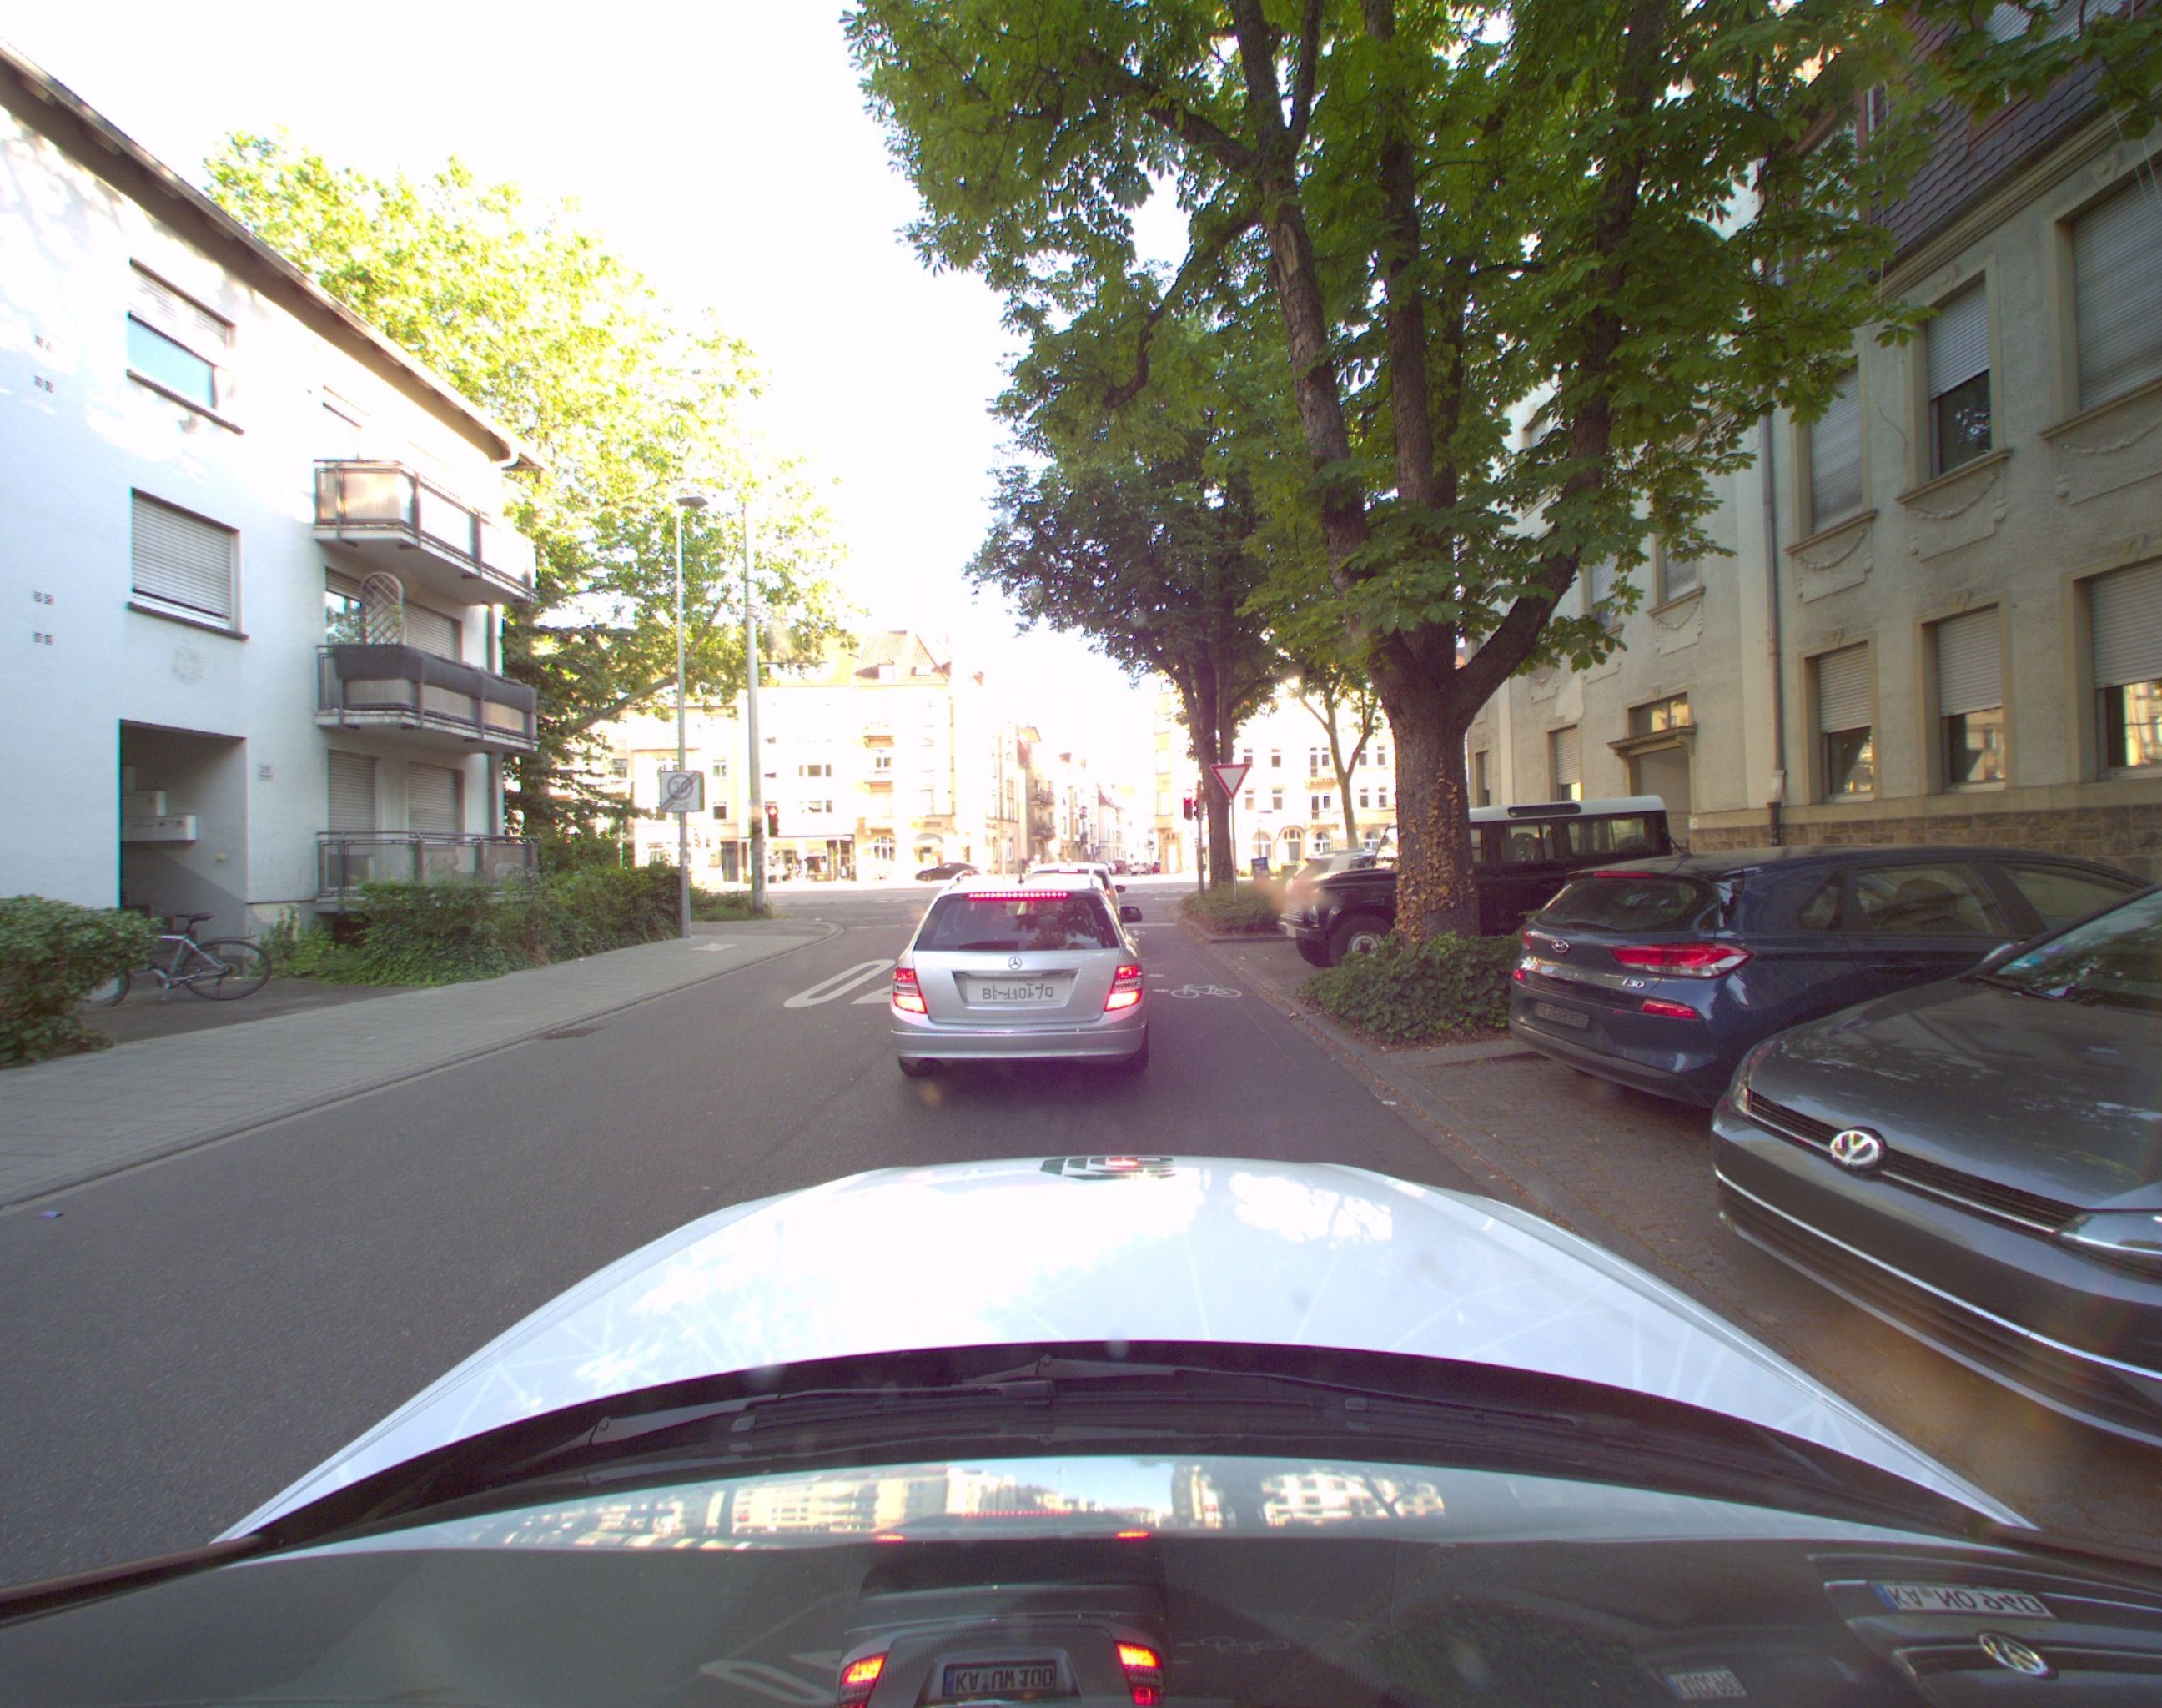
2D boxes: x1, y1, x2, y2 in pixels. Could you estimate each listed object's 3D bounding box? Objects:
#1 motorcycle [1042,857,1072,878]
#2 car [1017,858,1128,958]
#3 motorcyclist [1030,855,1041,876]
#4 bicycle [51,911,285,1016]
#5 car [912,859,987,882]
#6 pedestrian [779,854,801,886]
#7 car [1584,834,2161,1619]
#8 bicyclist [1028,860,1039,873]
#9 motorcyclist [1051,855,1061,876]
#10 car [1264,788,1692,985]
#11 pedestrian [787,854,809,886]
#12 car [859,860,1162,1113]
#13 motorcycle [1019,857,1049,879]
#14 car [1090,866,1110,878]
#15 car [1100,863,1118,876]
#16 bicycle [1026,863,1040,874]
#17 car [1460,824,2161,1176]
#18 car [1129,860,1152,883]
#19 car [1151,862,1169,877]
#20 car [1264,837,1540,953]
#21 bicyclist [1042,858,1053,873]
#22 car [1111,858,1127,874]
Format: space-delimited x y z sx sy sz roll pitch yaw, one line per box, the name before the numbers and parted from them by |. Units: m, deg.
motorcycle | -1.705 0.958 57.815 2.028 1.452 0.568 -2 0 -3
car | -0.112 0.813 14.174 1.614 1.447 4.344 -1 0 0
motorcyclist | -3.125 0.776 56.259 0.679 1.452 0.568 -2 0 -2
bicycle | -9.999 1.162 9.011 1.630 1.008 0.511 2 -2 -39
car | -9.093 1.165 56.687 4.871 1.452 1.857 -1 0 -2
pedestrian | -22.953 1.263 64.279 1.343 2.464 1.059 -1 0 -3
car | 4.028 0.651 2.386 4.042 1.452 1.722 -3 -1 -2
bicyclist | -4.307 1.110 73.728 0.765 1.156 0.755 -1 0 13
motorcyclist | -1.779 0.805 57.814 0.679 1.452 0.568 -2 0 -2
car | 4.737 0.367 10.132 4.453 2.036 1.700 -3 -1 -2
pedestrian | -22.769 1.284 65.486 1.343 2.464 1.059 -1 0 -3
car | -0.407 0.797 7.086 1.771 1.452 4.547 -1 0 0
motorcycle | -3.255 0.936 56.257 2.028 1.452 0.568 -2 0 -3
car | 2.398 2.248 102.636 1.824 1.402 4.012 -1 0 10
car | 3.709 2.060 108.843 1.824 1.663 4.012 -1 0 10
bicycle | -4.324 1.332 73.649 0.765 0.940 1.947 -1 0 13
car | 4.393 0.634 4.558 3.714 1.452 1.707 -3 -1 -2
car | 6.307 1.810 85.904 2.018 2.279 4.012 -1 0 10
car | 9.878 1.901 101.860 1.824 1.744 4.012 -1 0 10
car | 5.027 0.617 13.091 3.714 1.570 1.707 -3 -1 -2
bicyclist | -3.006 1.021 73.708 0.765 1.290 0.755 -1 0 13
car | 5.483 1.711 117.402 1.776 2.204 4.012 -1 0 10
